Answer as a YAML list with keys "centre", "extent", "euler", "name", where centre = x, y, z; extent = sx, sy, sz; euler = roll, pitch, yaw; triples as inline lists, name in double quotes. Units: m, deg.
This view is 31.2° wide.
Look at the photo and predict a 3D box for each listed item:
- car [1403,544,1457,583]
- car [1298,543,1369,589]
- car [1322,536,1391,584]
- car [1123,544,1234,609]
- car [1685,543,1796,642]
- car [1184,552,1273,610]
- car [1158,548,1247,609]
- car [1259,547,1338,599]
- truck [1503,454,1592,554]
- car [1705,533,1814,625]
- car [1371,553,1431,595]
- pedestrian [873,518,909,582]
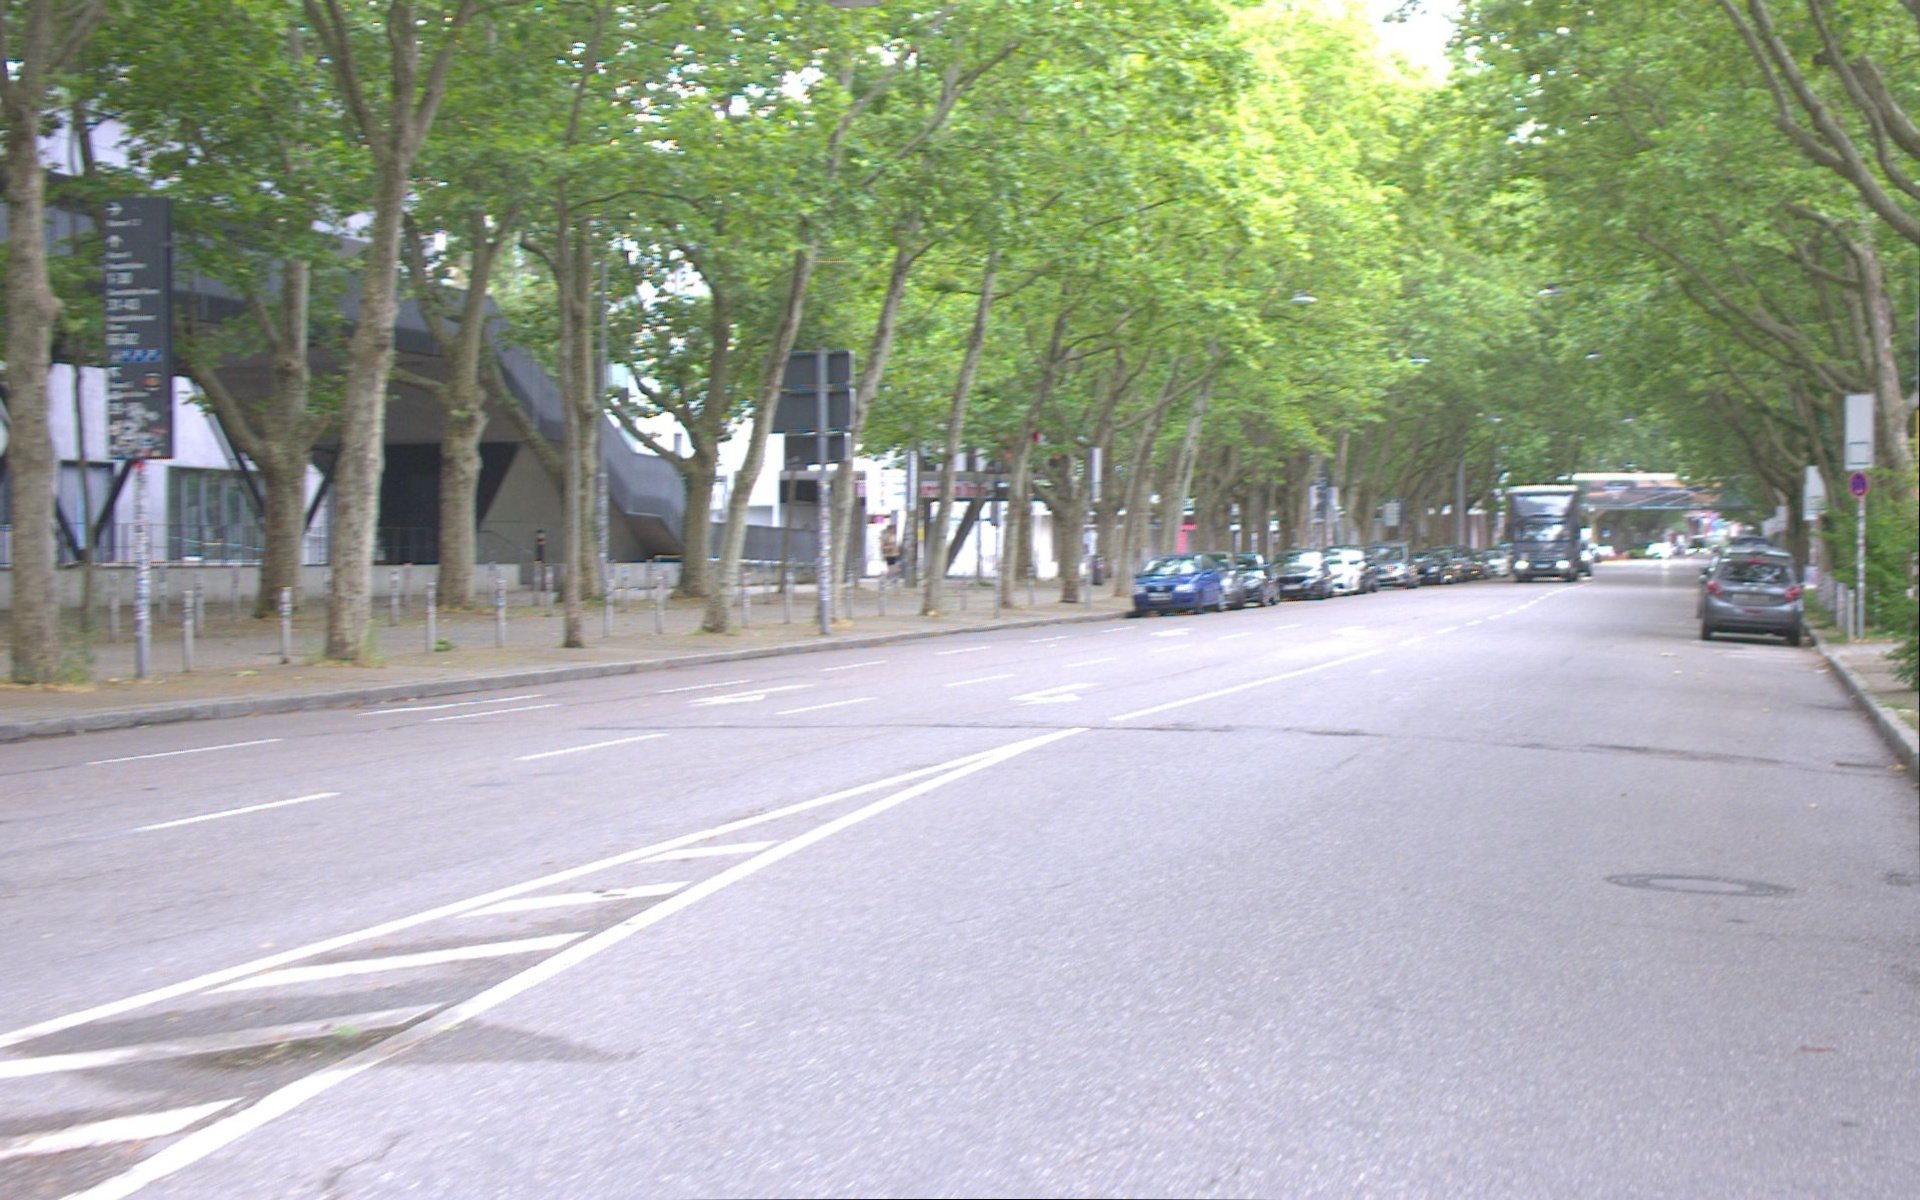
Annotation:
- centre: [18.785, -1.454, 137.238]
  extent: [1.896, 1.433, 3.998]
  euler: [-1, -1, 11]
  name: "car"
- centre: [11.517, -1.035, 105.872]
  extent: [1.733, 1.328, 3.998]
  euler: [-1, -1, 12]
  name: "car"
- centre: [12.858, -1.279, 111.421]
  extent: [1.896, 1.433, 3.998]
  euler: [-1, -1, 11]
  name: "car"
- centre: [5.105, -0.539, 80.025]
  extent: [1.696, 1.414, 3.758]
  euler: [-2, -1, 17]
  name: "car"
- centre: [13.515, -0.169, 59.605]
  extent: [1.700, 1.513, 4.451]
  euler: [4, 2, 12]
  name: "car"
- centre: [7.019, -0.473, 89.561]
  extent: [1.766, 1.414, 3.759]
  euler: [-2, -1, 12]
  name: "car"
- centre: [5.994, -0.510, 84.713]
  extent: [1.766, 1.414, 3.760]
  euler: [-2, -1, 10]
  name: "car"
- centre: [9.774, -0.761, 99.124]
  extent: [1.766, 1.414, 3.759]
  euler: [-2, -1, 12]
  name: "car"
- centre: [24.115, -3.854, 140.762]
  extent: [2.643, 3.888, 9.534]
  euler: [-1, 1, 15]
  name: "truck"
- centre: [15.031, -0.419, 64.756]
  extent: [1.720, 1.561, 4.092]
  euler: [4, 2, 11]
  name: "car"
- centre: [16.096, -0.941, 125.394]
  extent: [1.896, 1.433, 3.998]
  euler: [-1, -1, 11]
  name: "car"
- centre: [-1.976, -1.426, 98.266]
  extent: [0.769, 1.828, 0.879]
  euler: [0, 1, -22]
  name: "pedestrian"
